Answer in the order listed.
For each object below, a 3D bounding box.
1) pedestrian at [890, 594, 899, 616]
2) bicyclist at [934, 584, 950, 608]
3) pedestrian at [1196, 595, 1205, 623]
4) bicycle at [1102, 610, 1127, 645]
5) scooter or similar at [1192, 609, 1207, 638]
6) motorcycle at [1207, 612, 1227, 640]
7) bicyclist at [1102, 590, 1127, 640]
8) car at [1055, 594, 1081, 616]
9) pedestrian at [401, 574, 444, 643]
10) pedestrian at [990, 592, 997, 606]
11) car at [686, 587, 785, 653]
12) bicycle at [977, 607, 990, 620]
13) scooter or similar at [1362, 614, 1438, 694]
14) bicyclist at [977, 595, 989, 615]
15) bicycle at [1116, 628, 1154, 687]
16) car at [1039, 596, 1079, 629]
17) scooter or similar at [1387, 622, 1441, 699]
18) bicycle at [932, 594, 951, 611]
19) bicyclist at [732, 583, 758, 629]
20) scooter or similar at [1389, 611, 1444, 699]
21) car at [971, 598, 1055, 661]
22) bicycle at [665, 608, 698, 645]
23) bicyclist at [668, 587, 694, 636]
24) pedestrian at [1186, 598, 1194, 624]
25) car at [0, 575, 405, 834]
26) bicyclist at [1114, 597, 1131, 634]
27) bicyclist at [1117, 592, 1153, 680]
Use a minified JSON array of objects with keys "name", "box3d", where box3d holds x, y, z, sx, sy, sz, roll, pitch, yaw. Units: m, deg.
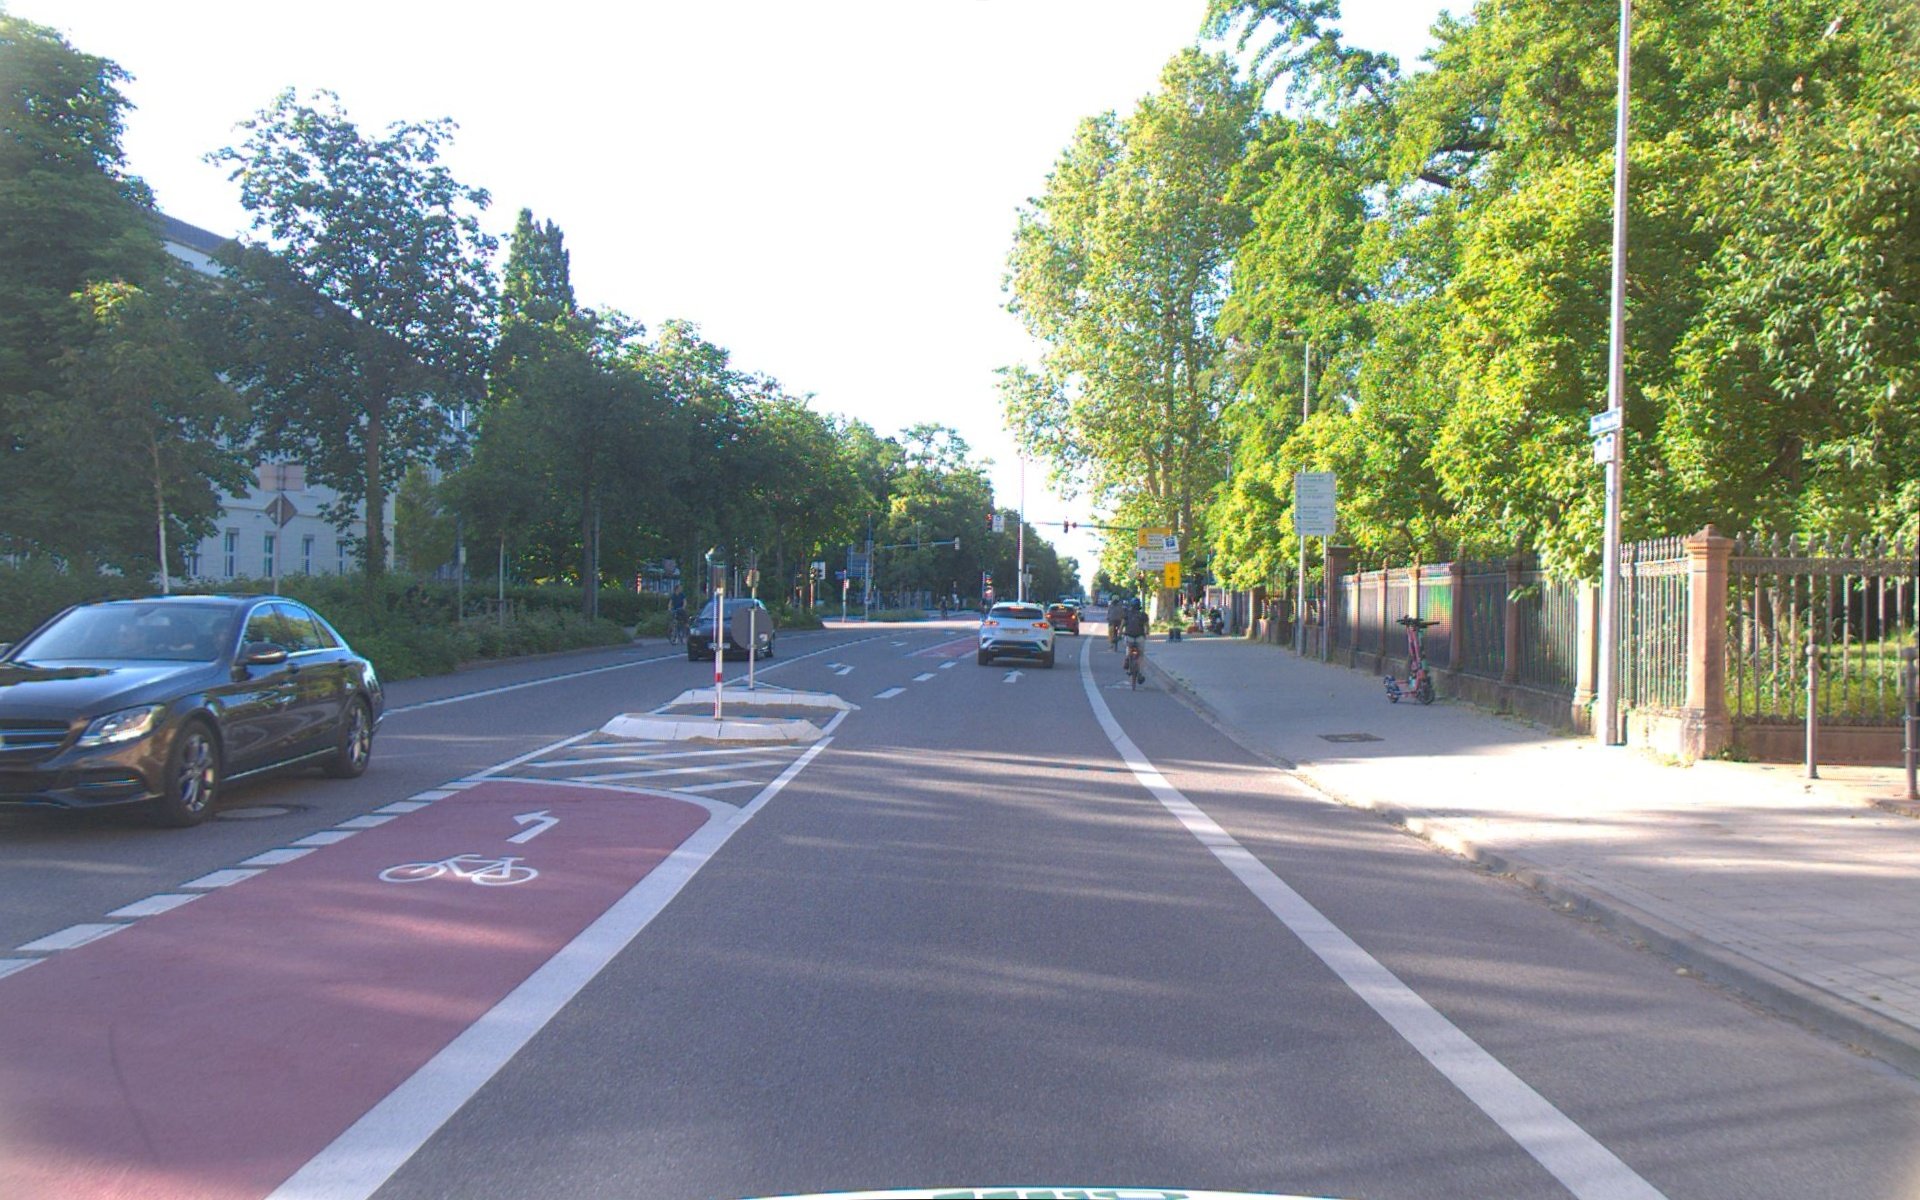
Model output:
[{"name":"pedestrian","box3d":[-5.915,0.464,149.313,0.637,1.921,0.663,0,-1,7]},{"name":"bicyclist","box3d":[-1.369,-0.303,126.828,1.069,1.785,1.098,0,0,6]},{"name":"pedestrian","box3d":[16.060,0.607,110.336,0.472,1.823,0.432,-2,3,11]},{"name":"bicycle","box3d":[4.844,0.864,51.990,0.737,1.044,1.870,2,-1,4]},{"name":"scooter or similar","box3d":[11.585,1.138,79.907,0.554,1.407,1.857,0,0,3]},{"name":"motorcycle","box3d":[11.341,1.151,73.126,0.648,1.188,2.328,-2,0,4]},{"name":"bicyclist","box3d":[4.845,0.472,52.030,0.731,1.564,0.970,1,0,4]},{"name":"car","box3d":[7.965,0.340,121.466,1.700,1.573,4.003,0,0,6]},{"name":"pedestrian","box3d":[-14.854,0.237,45.715,0.838,1.884,1.001,0,0,3]},{"name":"pedestrian","box3d":[5.107,-0.118,254.397,0.857,2.187,1.104,0,-1,14]},{"name":"car","box3d":[-5.275,0.453,39.297,1.722,1.484,4.000,0,0,1]},{"name":"bicycle","box3d":[2.128,1.208,150.508,0.943,1.201,2.953,0,0,6]},{"name":"scooter or similar","box3d":[7.230,0.867,27.238,0.538,1.264,1.552,0,0,-13]},{"name":"bicyclist","box3d":[2.085,0.462,150.389,0.935,1.735,1.233,0,0,6]},{"name":"bicycle","box3d":[3.360,1.089,31.904,0.629,1.042,2.213,2,0,4]},{"name":"car","box3d":[4.793,0.611,79.543,1.888,1.560,4.002,0,0,4]},{"name":"scooter or similar","box3d":[6.945,0.911,25.343,0.470,1.142,1.336,0,0,0]},{"name":"bicycle","box3d":[-1.406,0.175,126.586,1.078,1.277,2.781,0,0,6]},{"name":"bicyclist","box3d":[-6.921,0.195,53.347,0.632,1.443,0.971,-2,0,2]},{"name":"scooter or similar","box3d":[6.709,0.793,24.341,0.291,1.261,1.158,0,0,-12]},{"name":"car","box3d":[1.349,0.691,40.518,1.952,1.478,4.002,0,0,3]},{"name":"bicycle","box3d":[-8.871,0.840,52.722,0.584,1.140,2.027,-3,0,2]},{"name":"bicyclist","box3d":[-8.903,0.361,52.842,0.616,1.549,0.725,-2,0,2]},{"name":"pedestrian","box3d":[15.255,0.712,109.642,0.472,1.668,0.432,-3,2,11]},{"name":"car","box3d":[-5.480,0.581,11.518,1.775,1.444,4.553,0,0,-1]},{"name":"bicyclist","box3d":[7.961,0.773,80.997,0.734,1.780,0.843,1,0,4]},{"name":"bicyclist","box3d":[3.354,0.675,31.787,0.622,1.642,1.284,1,0,4]}]
